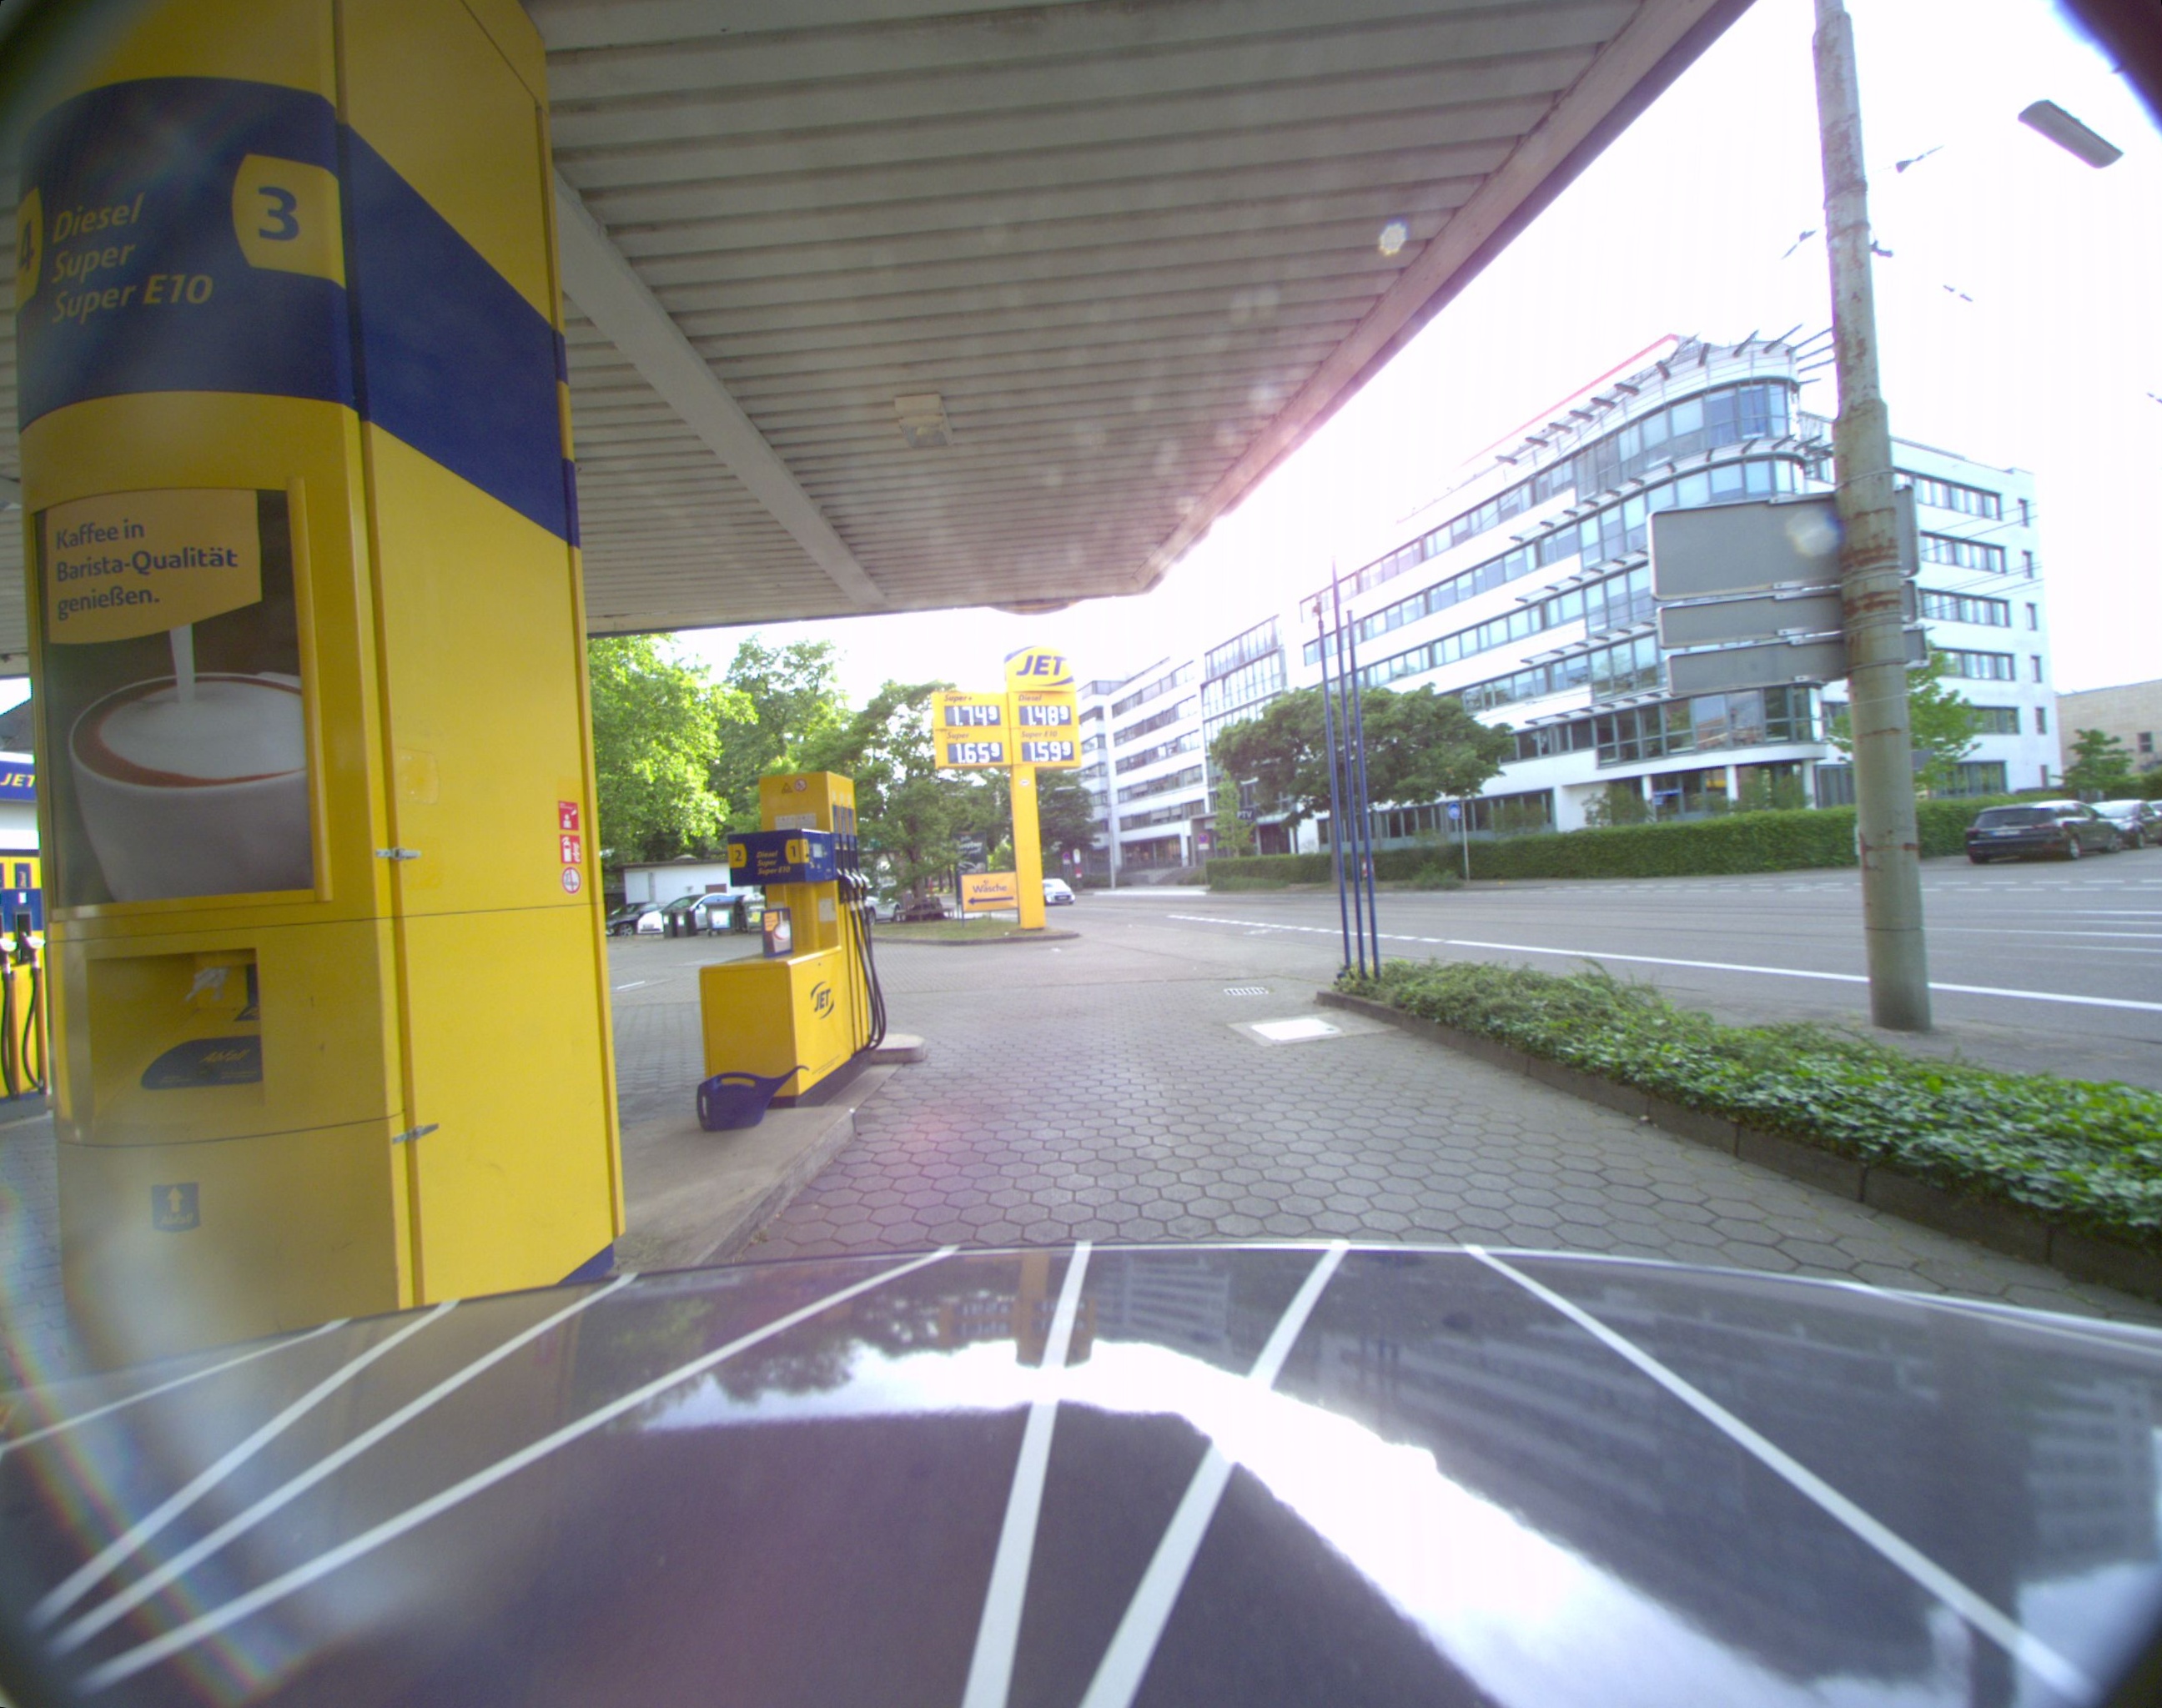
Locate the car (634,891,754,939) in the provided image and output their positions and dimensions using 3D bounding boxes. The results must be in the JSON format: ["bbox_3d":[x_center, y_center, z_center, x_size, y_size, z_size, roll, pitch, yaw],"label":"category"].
[{"bbox_3d":[-15.286,2.368,30.321,1.771,1.591,4.398,-2,-1,14],"label":"car"}]

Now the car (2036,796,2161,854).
[{"bbox_3d":[32.551,-0.945,24.100,4.296,1.530,1.945,-4,-1,-27],"label":"car"}]

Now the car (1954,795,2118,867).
[{"bbox_3d":[27.280,-0.667,21.698,4.296,1.681,2.010,-4,-1,-27],"label":"car"}]

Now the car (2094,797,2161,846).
[{"bbox_3d":[37.133,-1.202,26.152,4.296,1.509,1.945,-4,-1,-27],"label":"car"}]

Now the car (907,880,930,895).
[{"bbox_3d":[-17.011,3.528,79.524,1.691,1.463,3.806,-2,-1,-21],"label":"car"}]

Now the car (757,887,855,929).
[{"bbox_3d":[-11.648,2.270,32.499,1.771,1.591,4.400,-4,-4,13],"label":"car"}]

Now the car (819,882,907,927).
[{"bbox_3d":[-8.630,2.004,30.509,1.772,1.591,4.398,-4,-3,6],"label":"car"}]

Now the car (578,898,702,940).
[{"bbox_3d":[-17.788,2.594,30.914,1.771,1.367,4.398,-2,-1,14],"label":"car"}]

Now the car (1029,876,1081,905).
[{"bbox_3d":[-1.484,2.000,41.968,1.691,1.424,3.422,-4,-1,-22],"label":"car"}]
